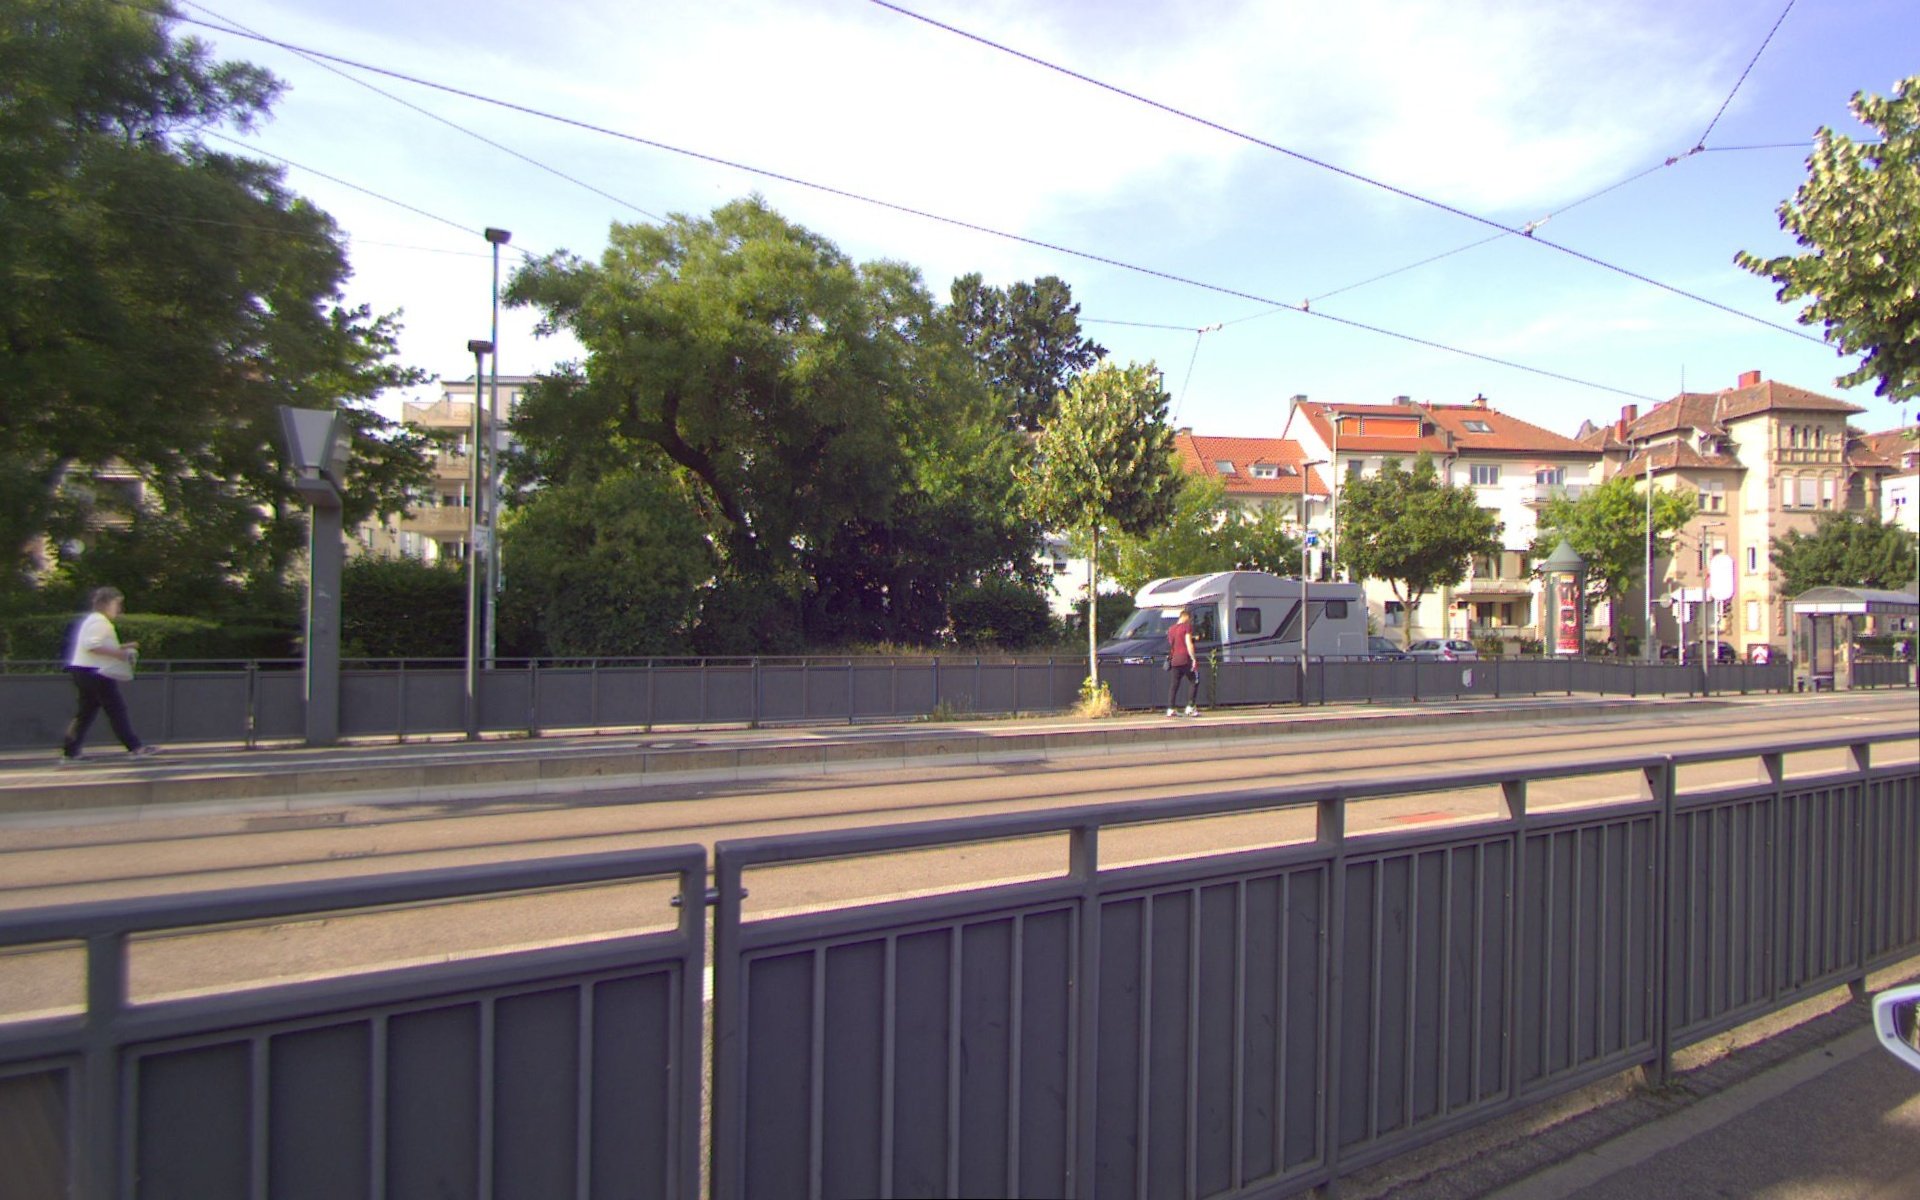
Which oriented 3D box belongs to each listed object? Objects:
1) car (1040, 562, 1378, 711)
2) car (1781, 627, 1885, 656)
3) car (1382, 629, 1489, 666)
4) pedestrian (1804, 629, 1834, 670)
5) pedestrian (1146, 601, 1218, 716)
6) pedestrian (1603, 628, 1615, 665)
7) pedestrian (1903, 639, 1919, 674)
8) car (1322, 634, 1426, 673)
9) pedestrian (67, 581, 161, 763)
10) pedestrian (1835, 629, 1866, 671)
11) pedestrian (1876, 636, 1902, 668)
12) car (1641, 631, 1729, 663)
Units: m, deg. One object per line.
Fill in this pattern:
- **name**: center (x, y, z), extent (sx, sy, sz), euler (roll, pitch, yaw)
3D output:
- **car**: center (5.512, 0.753, 21.707), extent (7.379, 2.771, 2.584), euler (1, -1, -30)
- **car**: center (52.827, 2.477, 60.806), extent (4.628, 1.649, 2.209), euler (1, -1, -6)
- **car**: center (19.646, 1.932, 41.688), extent (1.966, 1.416, 3.988), euler (1, -1, -15)
- **pedestrian**: center (37.519, 2.155, 43.882), extent (0.740, 1.776, 0.879), euler (1, -1, -40)
- **pedestrian**: center (3.507, 0.916, 15.904), extent (0.763, 1.756, 0.832), euler (1, -2, -29)
- **pedestrian**: center (36.519, 2.609, 56.509), extent (0.400, 2.040, 0.383), euler (1, 0, -11)
- **pedestrian**: center (49.574, 2.905, 52.183), extent (0.736, 1.776, 0.663), euler (1, -1, -26)
- **car**: center (16.922, 2.173, 41.255), extent (1.966, 1.416, 3.988), euler (1, -1, -14)
- **pedestrian**: center (-8.065, 0.675, 9.600), extent (0.601, 1.663, 0.578), euler (1, -3, -34)
- **pedestrian**: center (38.193, 2.140, 43.079), extent (0.740, 1.776, 0.879), euler (1, -1, -40)
- **pedestrian**: center (52.676, 2.947, 56.932), extent (0.736, 1.776, 0.884), euler (1, -1, -25)
- **car**: center (43.346, 2.779, 60.139), extent (1.965, 1.773, 3.992), euler (1, -1, -11)
